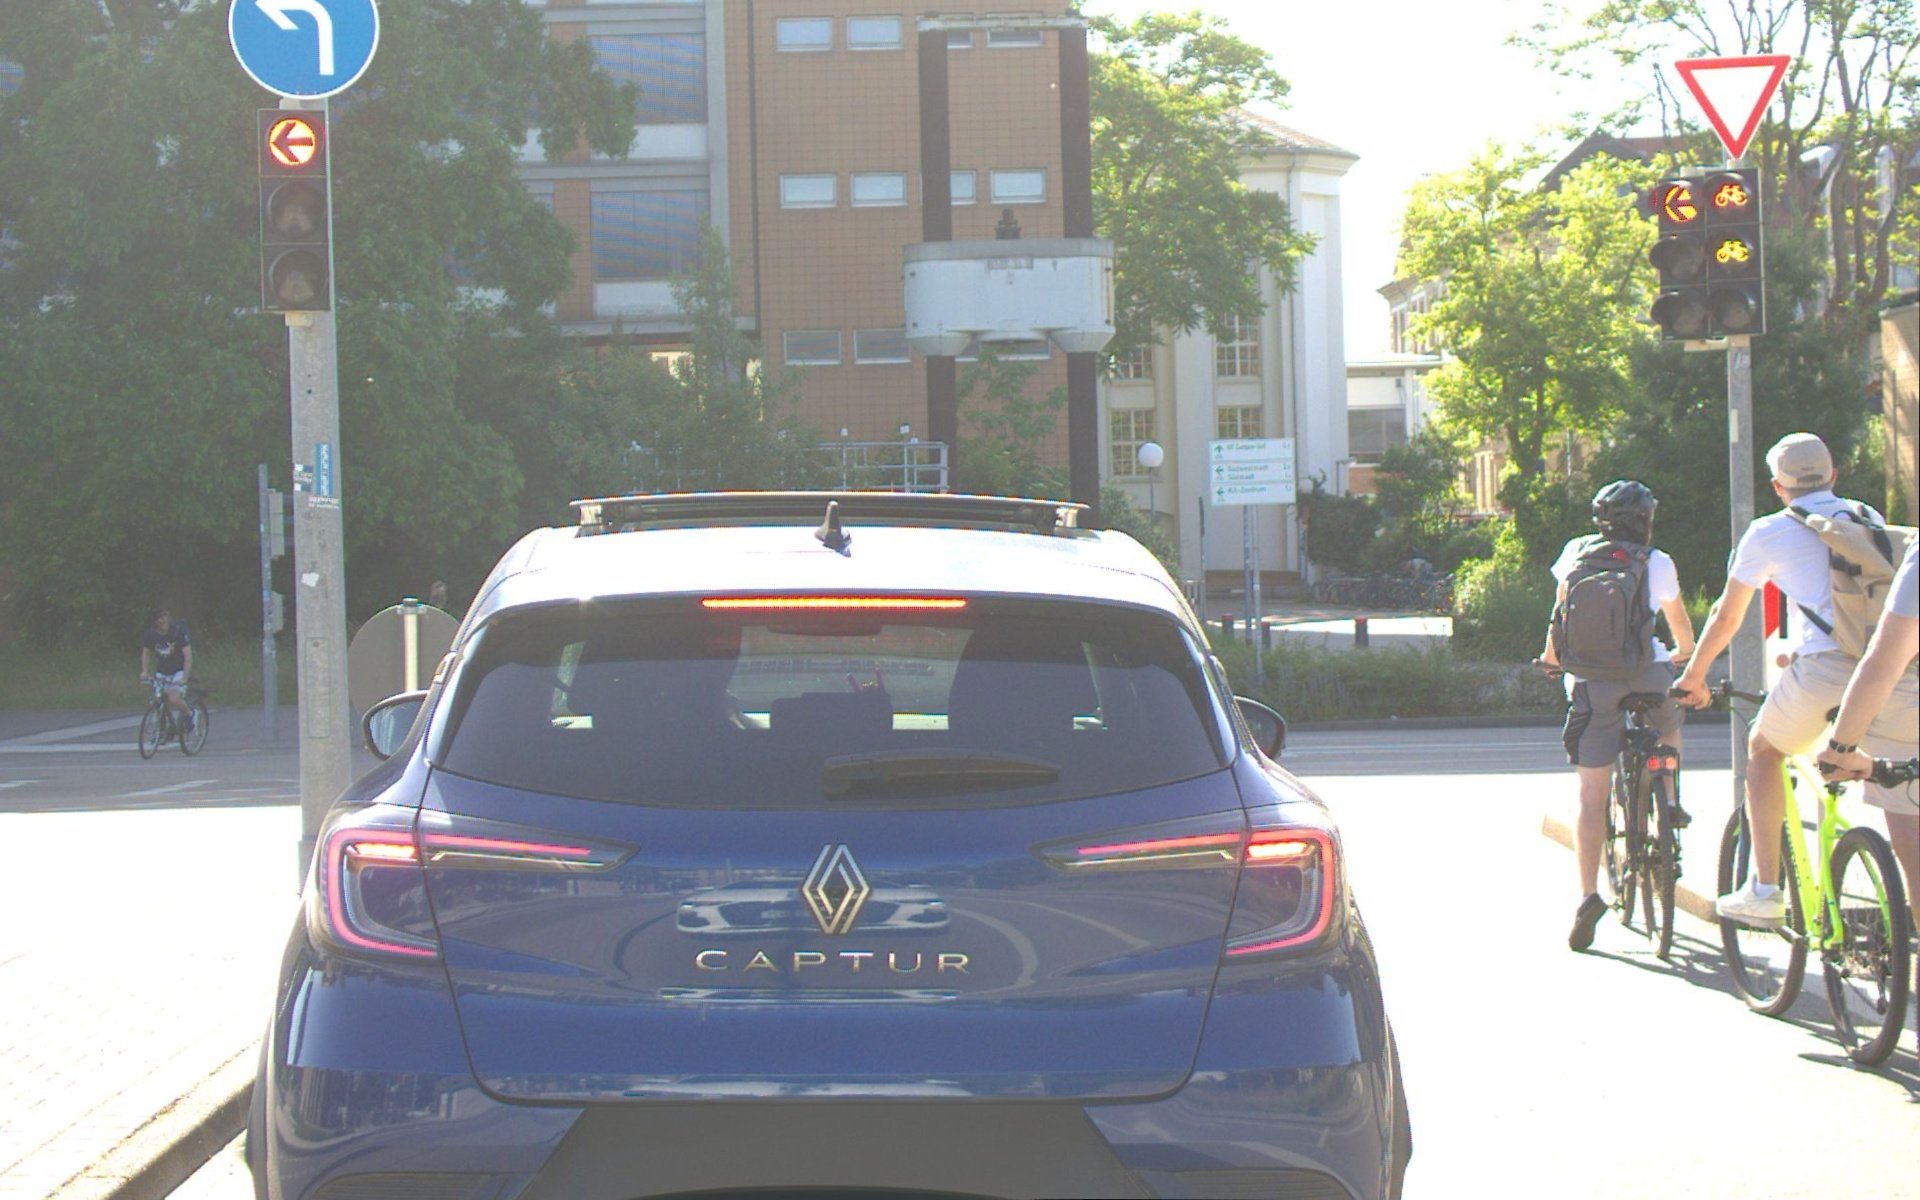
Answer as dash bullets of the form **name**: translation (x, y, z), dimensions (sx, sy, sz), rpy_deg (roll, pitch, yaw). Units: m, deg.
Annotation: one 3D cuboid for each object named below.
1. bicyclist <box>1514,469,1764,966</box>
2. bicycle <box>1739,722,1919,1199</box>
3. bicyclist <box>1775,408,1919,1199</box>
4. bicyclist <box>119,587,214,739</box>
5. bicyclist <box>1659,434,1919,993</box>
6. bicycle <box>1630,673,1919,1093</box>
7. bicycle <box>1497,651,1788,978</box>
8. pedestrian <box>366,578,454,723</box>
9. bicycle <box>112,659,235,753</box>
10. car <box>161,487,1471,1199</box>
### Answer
- **bicyclist**: translation (2.529, 0.415, 12.913), dimensions (0.699, 1.785, 1.142), rpy_deg (0, 1, -1)
- **bicycle**: translation (2.229, 0.849, 7.309), dimensions (0.689, 1.085, 1.922), rpy_deg (0, 1, -1)
- **bicyclist**: translation (2.221, 0.508, 7.333), dimensions (0.683, 1.785, 1.142), rpy_deg (0, 1, -1)
- **bicyclist**: translation (-9.168, 0.714, 39.753), dimensions (0.755, 1.710, 0.998), rpy_deg (-1, 1, 5)
- **bicyclist**: translation (2.565, 0.315, 10.334), dimensions (0.678, 1.589, 1.142), rpy_deg (0, 1, -1)
- **bicycle**: translation (2.563, 0.795, 10.364), dimensions (0.689, 1.085, 1.922), rpy_deg (0, 1, -1)
- **bicycle**: translation (2.525, 0.761, 12.926), dimensions (0.689, 1.085, 1.922), rpy_deg (0, 1, -1)
- **pedestrian**: translation (-7.193, 0.658, 45.017), dimensions (0.814, 1.856, 0.909), rpy_deg (-1, 1, 13)
- **bicycle**: translation (-9.140, 1.220, 40.014), dimensions (0.755, 0.981, 2.093), rpy_deg (-1, 1, 5)
- **car**: translation (-0.273, 0.612, 6.660), dimensions (1.788, 1.580, 3.915), rpy_deg (0, 1, -2)
